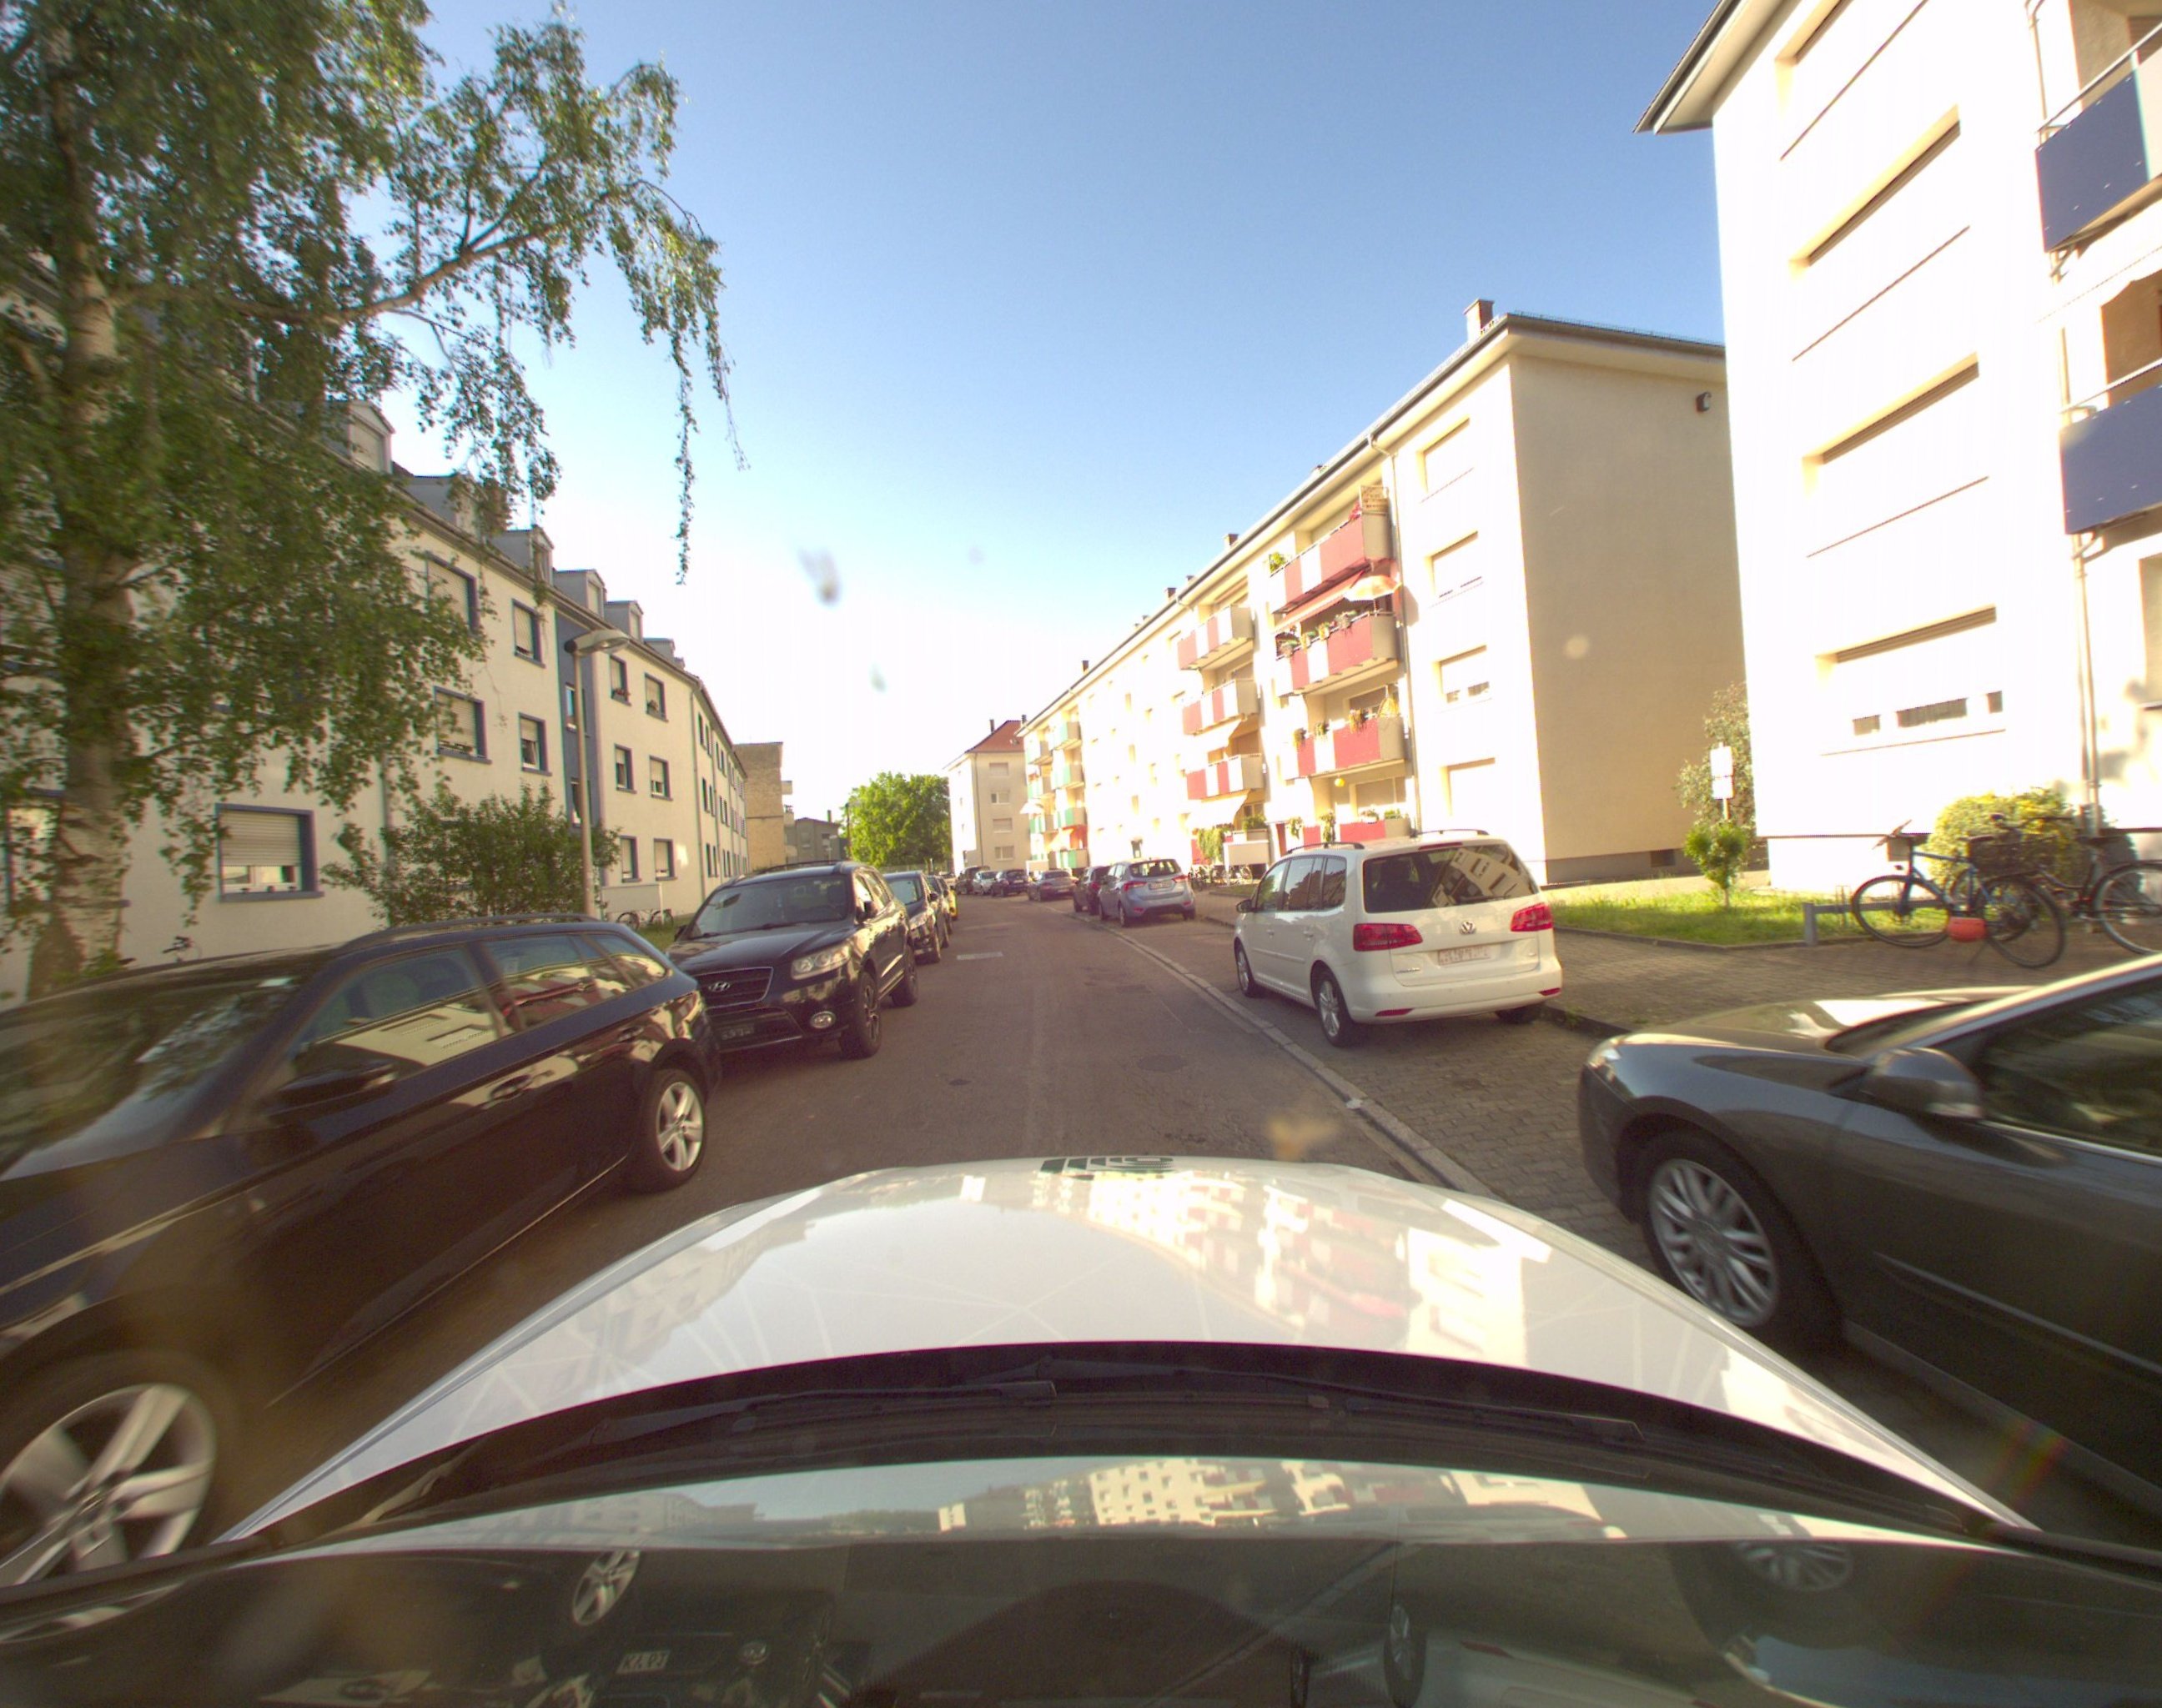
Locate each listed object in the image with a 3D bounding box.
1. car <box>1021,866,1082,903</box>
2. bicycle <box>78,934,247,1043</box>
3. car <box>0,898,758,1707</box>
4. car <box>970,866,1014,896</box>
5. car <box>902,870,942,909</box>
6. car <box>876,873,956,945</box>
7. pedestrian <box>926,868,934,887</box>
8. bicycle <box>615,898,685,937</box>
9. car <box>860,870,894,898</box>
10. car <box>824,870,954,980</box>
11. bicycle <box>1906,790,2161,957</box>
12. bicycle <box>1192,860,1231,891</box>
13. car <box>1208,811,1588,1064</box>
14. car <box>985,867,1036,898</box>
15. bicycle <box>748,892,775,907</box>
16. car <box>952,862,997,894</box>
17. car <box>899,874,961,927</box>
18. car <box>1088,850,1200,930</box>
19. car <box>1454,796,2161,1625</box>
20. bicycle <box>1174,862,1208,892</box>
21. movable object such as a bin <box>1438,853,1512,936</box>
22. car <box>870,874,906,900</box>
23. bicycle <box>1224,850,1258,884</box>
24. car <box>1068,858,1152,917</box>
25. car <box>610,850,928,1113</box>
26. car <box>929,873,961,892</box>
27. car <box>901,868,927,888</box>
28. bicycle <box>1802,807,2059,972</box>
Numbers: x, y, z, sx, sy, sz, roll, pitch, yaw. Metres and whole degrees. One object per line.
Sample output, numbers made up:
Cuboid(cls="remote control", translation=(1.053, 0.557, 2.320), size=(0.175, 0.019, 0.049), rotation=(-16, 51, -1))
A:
Cuboid(cls="car", translation=(-1.364, 1.320, 36.159), size=(1.689, 1.363, 4.218), rotation=(-7, 0, -15))
Cuboid(cls="bicycle", translation=(-11.560, 1.674, 10.280), size=(1.408, 1.152, 0.414), rotation=(-5, -1, -9))
Cuboid(cls="car", translation=(-2.850, 1.056, 3.012), size=(1.550, 1.442, 3.967), rotation=(-7, -1, 0))
Cuboid(cls="car", translation=(-5.461, 1.625, 49.530), size=(1.687, 1.587, 3.985), rotation=(-5, 0, -20))
Cuboid(cls="car", translation=(-7.225, 1.585, 36.745), size=(1.480, 1.477, 3.615), rotation=(-8, 0, -13))
Cuboid(cls="car", translation=(-4.178, 1.315, 20.897), size=(1.694, 1.445, 4.006), rotation=(-6, 0, -10))
Cuboid(cls="pedestrian", translation=(-15.455, 2.428, 83.528), size=(0.654, 1.815, 0.612), rotation=(-6, -1, -11))
Cuboid(cls="bicycle", translation=(-13.183, 1.931, 24.933), size=(1.815, 1.078, 0.568), rotation=(-2, -1, -2))
Cuboid(cls="car", translation=(-15.530, 2.313, 61.845), size=(1.903, 1.855, 4.165), rotation=(-5, -1, -20))
Cuboid(cls="car", translation=(-3.360, 1.153, 14.966), size=(1.692, 1.560, 4.147), rotation=(-5, 0, -6))
Cuboid(cls="bicycle", translation=(8.187, 0.128, 6.932), size=(0.512, 1.202, 1.837), rotation=(-6, 0, 7))
Cuboid(cls="bicycle", translation=(4.738, 0.768, 29.666), size=(0.618, 0.978, 1.887), rotation=(-8, 2, -13))
Cuboid(cls="car", translation=(2.655, 0.620, 8.088), size=(1.691, 1.655, 4.384), rotation=(-6, 0, -4))
Cuboid(cls="car", translation=(-3.953, 1.599, 44.909), size=(1.743, 1.431, 4.328), rotation=(-6, 0, -18))
Cuboid(cls="bicycle", translation=(-22.776, 3.238, 58.067), size=(1.652, 0.936, 0.544), rotation=(-6, 0, -19))
Cuboid(cls="car", translation=(-7.158, 1.640, 54.306), size=(1.904, 1.855, 4.311), rotation=(-5, -1, -21))
Cuboid(cls="car", translation=(-4.850, 1.432, 26.236), size=(1.694, 1.389, 4.141), rotation=(-5, 0, -10))
Cuboid(cls="car", translation=(1.486, 0.842, 20.794), size=(1.766, 1.635, 4.027), rotation=(-6, 1, -10))
Cuboid(cls="car", translation=(2.796, 0.630, 1.433), size=(1.691, 1.431, 4.680), rotation=(-8, 0, -4))
Cuboid(cls="bicycle", translation=(3.971, 0.829, 29.418), size=(0.498, 1.019, 1.833), rotation=(-6, 0, -13))
Cuboid(cls="movable object such as a bin", translation=(5.497, 0.558, 11.397), size=(0.581, 1.056, 0.641), rotation=(-7, -2, 1))
Cuboid(cls="car", translation=(-12.396, 2.119, 52.053), size=(1.665, 1.443, 3.844), rotation=(-6, 0, -21))
Cuboid(cls="bicycle", translation=(5.790, 0.482, 29.571), size=(0.408, 1.150, 1.754), rotation=(-6, 0, -14))
Cuboid(cls="car", translation=(0.820, 1.018, 25.736), size=(1.736, 1.508, 3.871), rotation=(-7, 0, -10))
Cuboid(cls="car", translation=(-2.657, 0.953, 8.065), size=(1.553, 1.714, 4.331), rotation=(-7, -1, -4))
Cuboid(cls="car", translation=(-10.765, 2.244, 64.269), size=(1.723, 1.364, 4.027), rotation=(-3, -1, -20))
Cuboid(cls="car", translation=(-16.299, 2.349, 79.348), size=(1.772, 1.739, 4.066), rotation=(-6, 0, -20))
Cuboid(cls="bicycle", translation=(7.172, 0.261, 7.016), size=(0.511, 1.202, 1.766), rotation=(-6, 0, 11))
